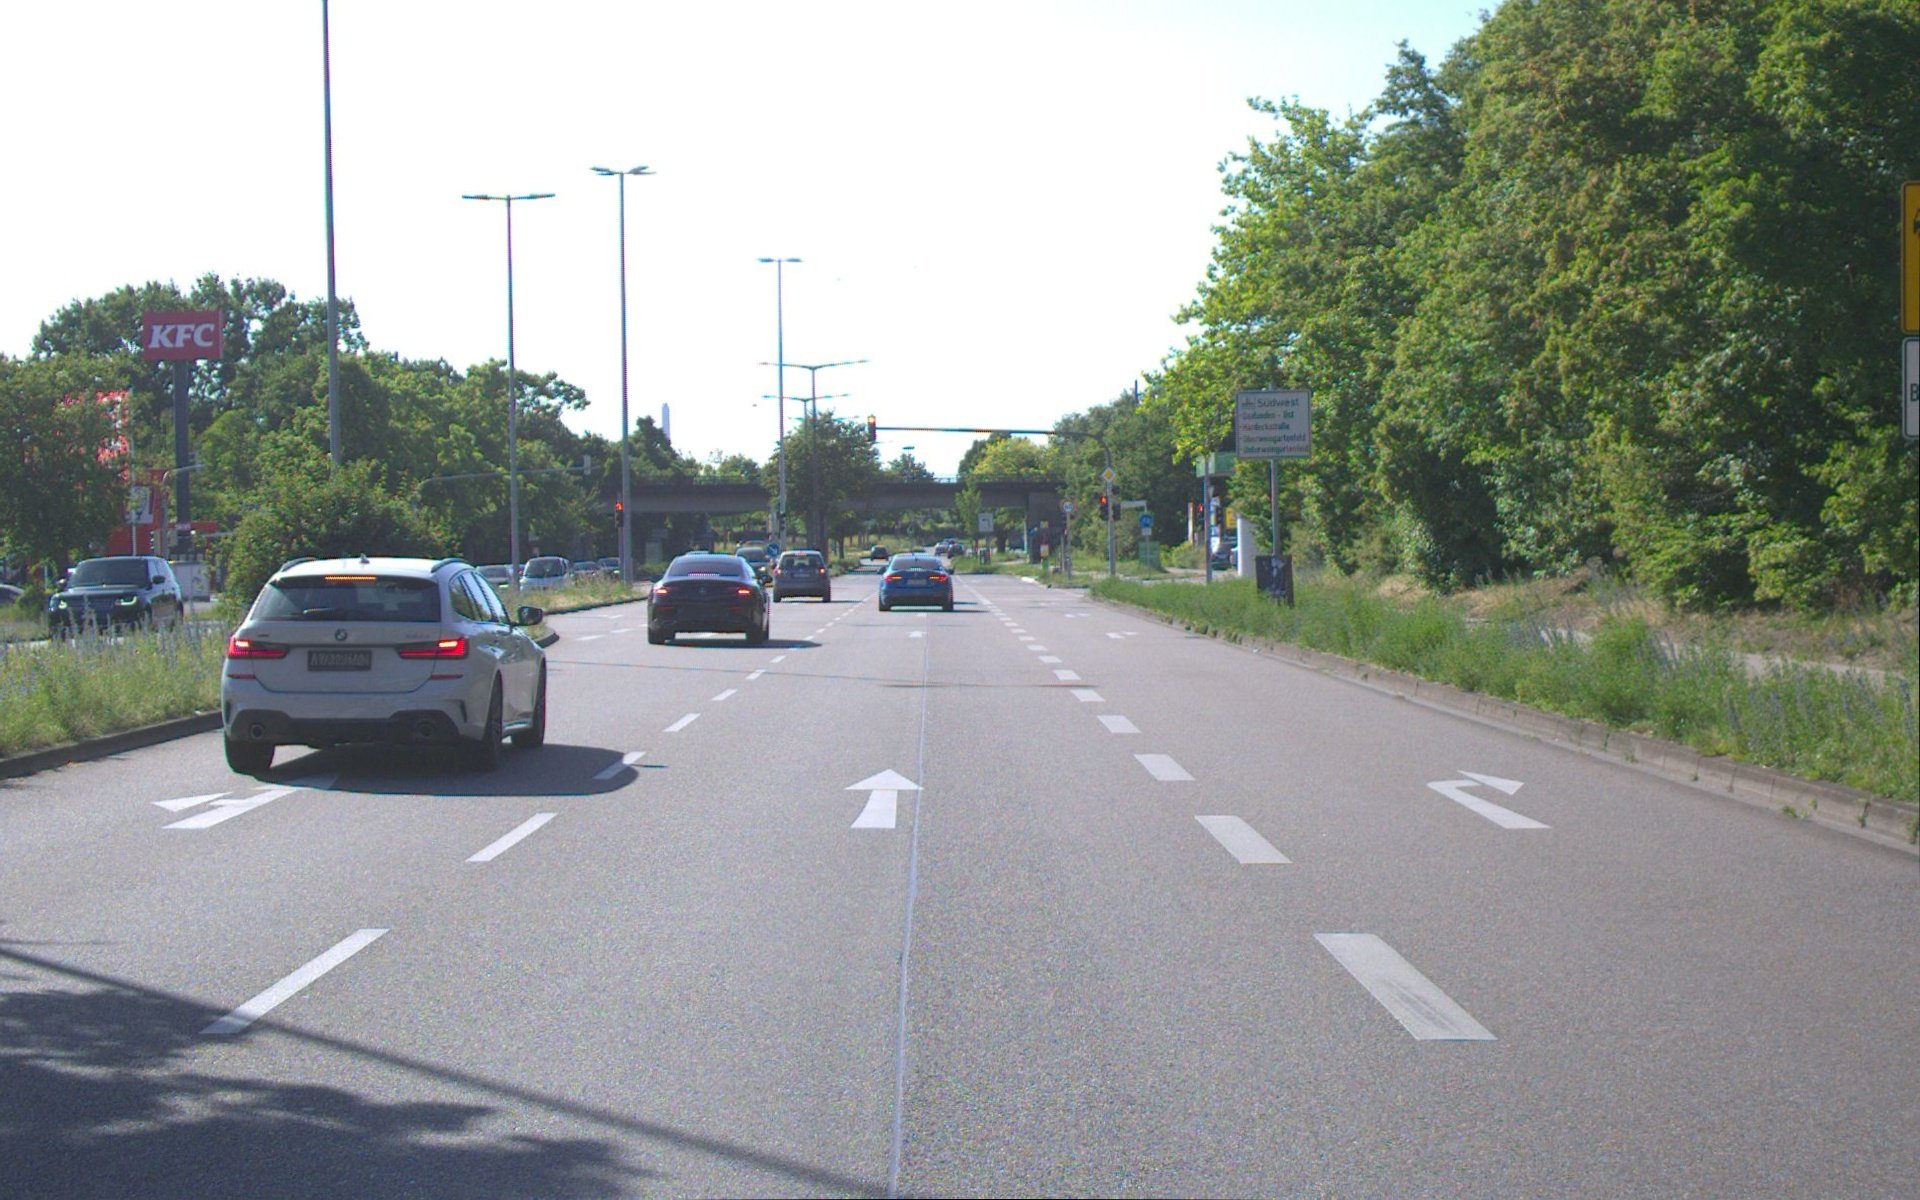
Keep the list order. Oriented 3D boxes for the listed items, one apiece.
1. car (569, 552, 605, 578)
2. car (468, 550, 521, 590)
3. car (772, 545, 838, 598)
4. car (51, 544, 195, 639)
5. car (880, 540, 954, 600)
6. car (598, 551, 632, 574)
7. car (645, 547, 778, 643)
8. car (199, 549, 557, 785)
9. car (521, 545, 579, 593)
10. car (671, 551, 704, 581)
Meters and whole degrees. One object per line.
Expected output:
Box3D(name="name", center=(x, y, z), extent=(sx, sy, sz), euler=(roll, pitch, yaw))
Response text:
Box3D(name="car", center=(-21.372, -2.010, 197.001), extent=(1.703, 1.397, 3.723), euler=(-1, 1, 0))
Box3D(name="car", center=(-17.764, -1.167, 131.296), extent=(1.535, 1.447, 3.671), euler=(-2, 1, 0))
Box3D(name="car", center=(-4.804, -0.895, 106.856), extent=(1.861, 1.560, 4.548), euler=(-1, 1, -1))
Box3D(name="car", center=(-17.356, -0.210, 71.509), extent=(1.739, 1.796, 4.671), euler=(-4, 1, 0))
Box3D(name="car", center=(-1.109, -0.798, 89.197), extent=(1.861, 1.494, 4.337), euler=(-1, 1, -1))
Box3D(name="car", center=(-21.218, -2.316, 211.669), extent=(1.703, 1.397, 3.723), euler=(-1, 1, 0))
Box3D(name="car", center=(-4.037, -0.110, 56.443), extent=(1.861, 1.450, 4.548), euler=(-1, 1, -1))
Box3D(name="car", center=(-4.041, 0.401, 24.567), extent=(1.861, 1.450, 4.548), euler=(1, 2, -1))
Box3D(name="car", center=(-13.455, -1.037, 112.913), extent=(1.493, 1.503, 3.487), euler=(-1, 1, 0))
Box3D(name="car", center=(-15.056, -1.910, 189.965), extent=(1.535, 1.575, 3.671), euler=(-2, 1, 0))
